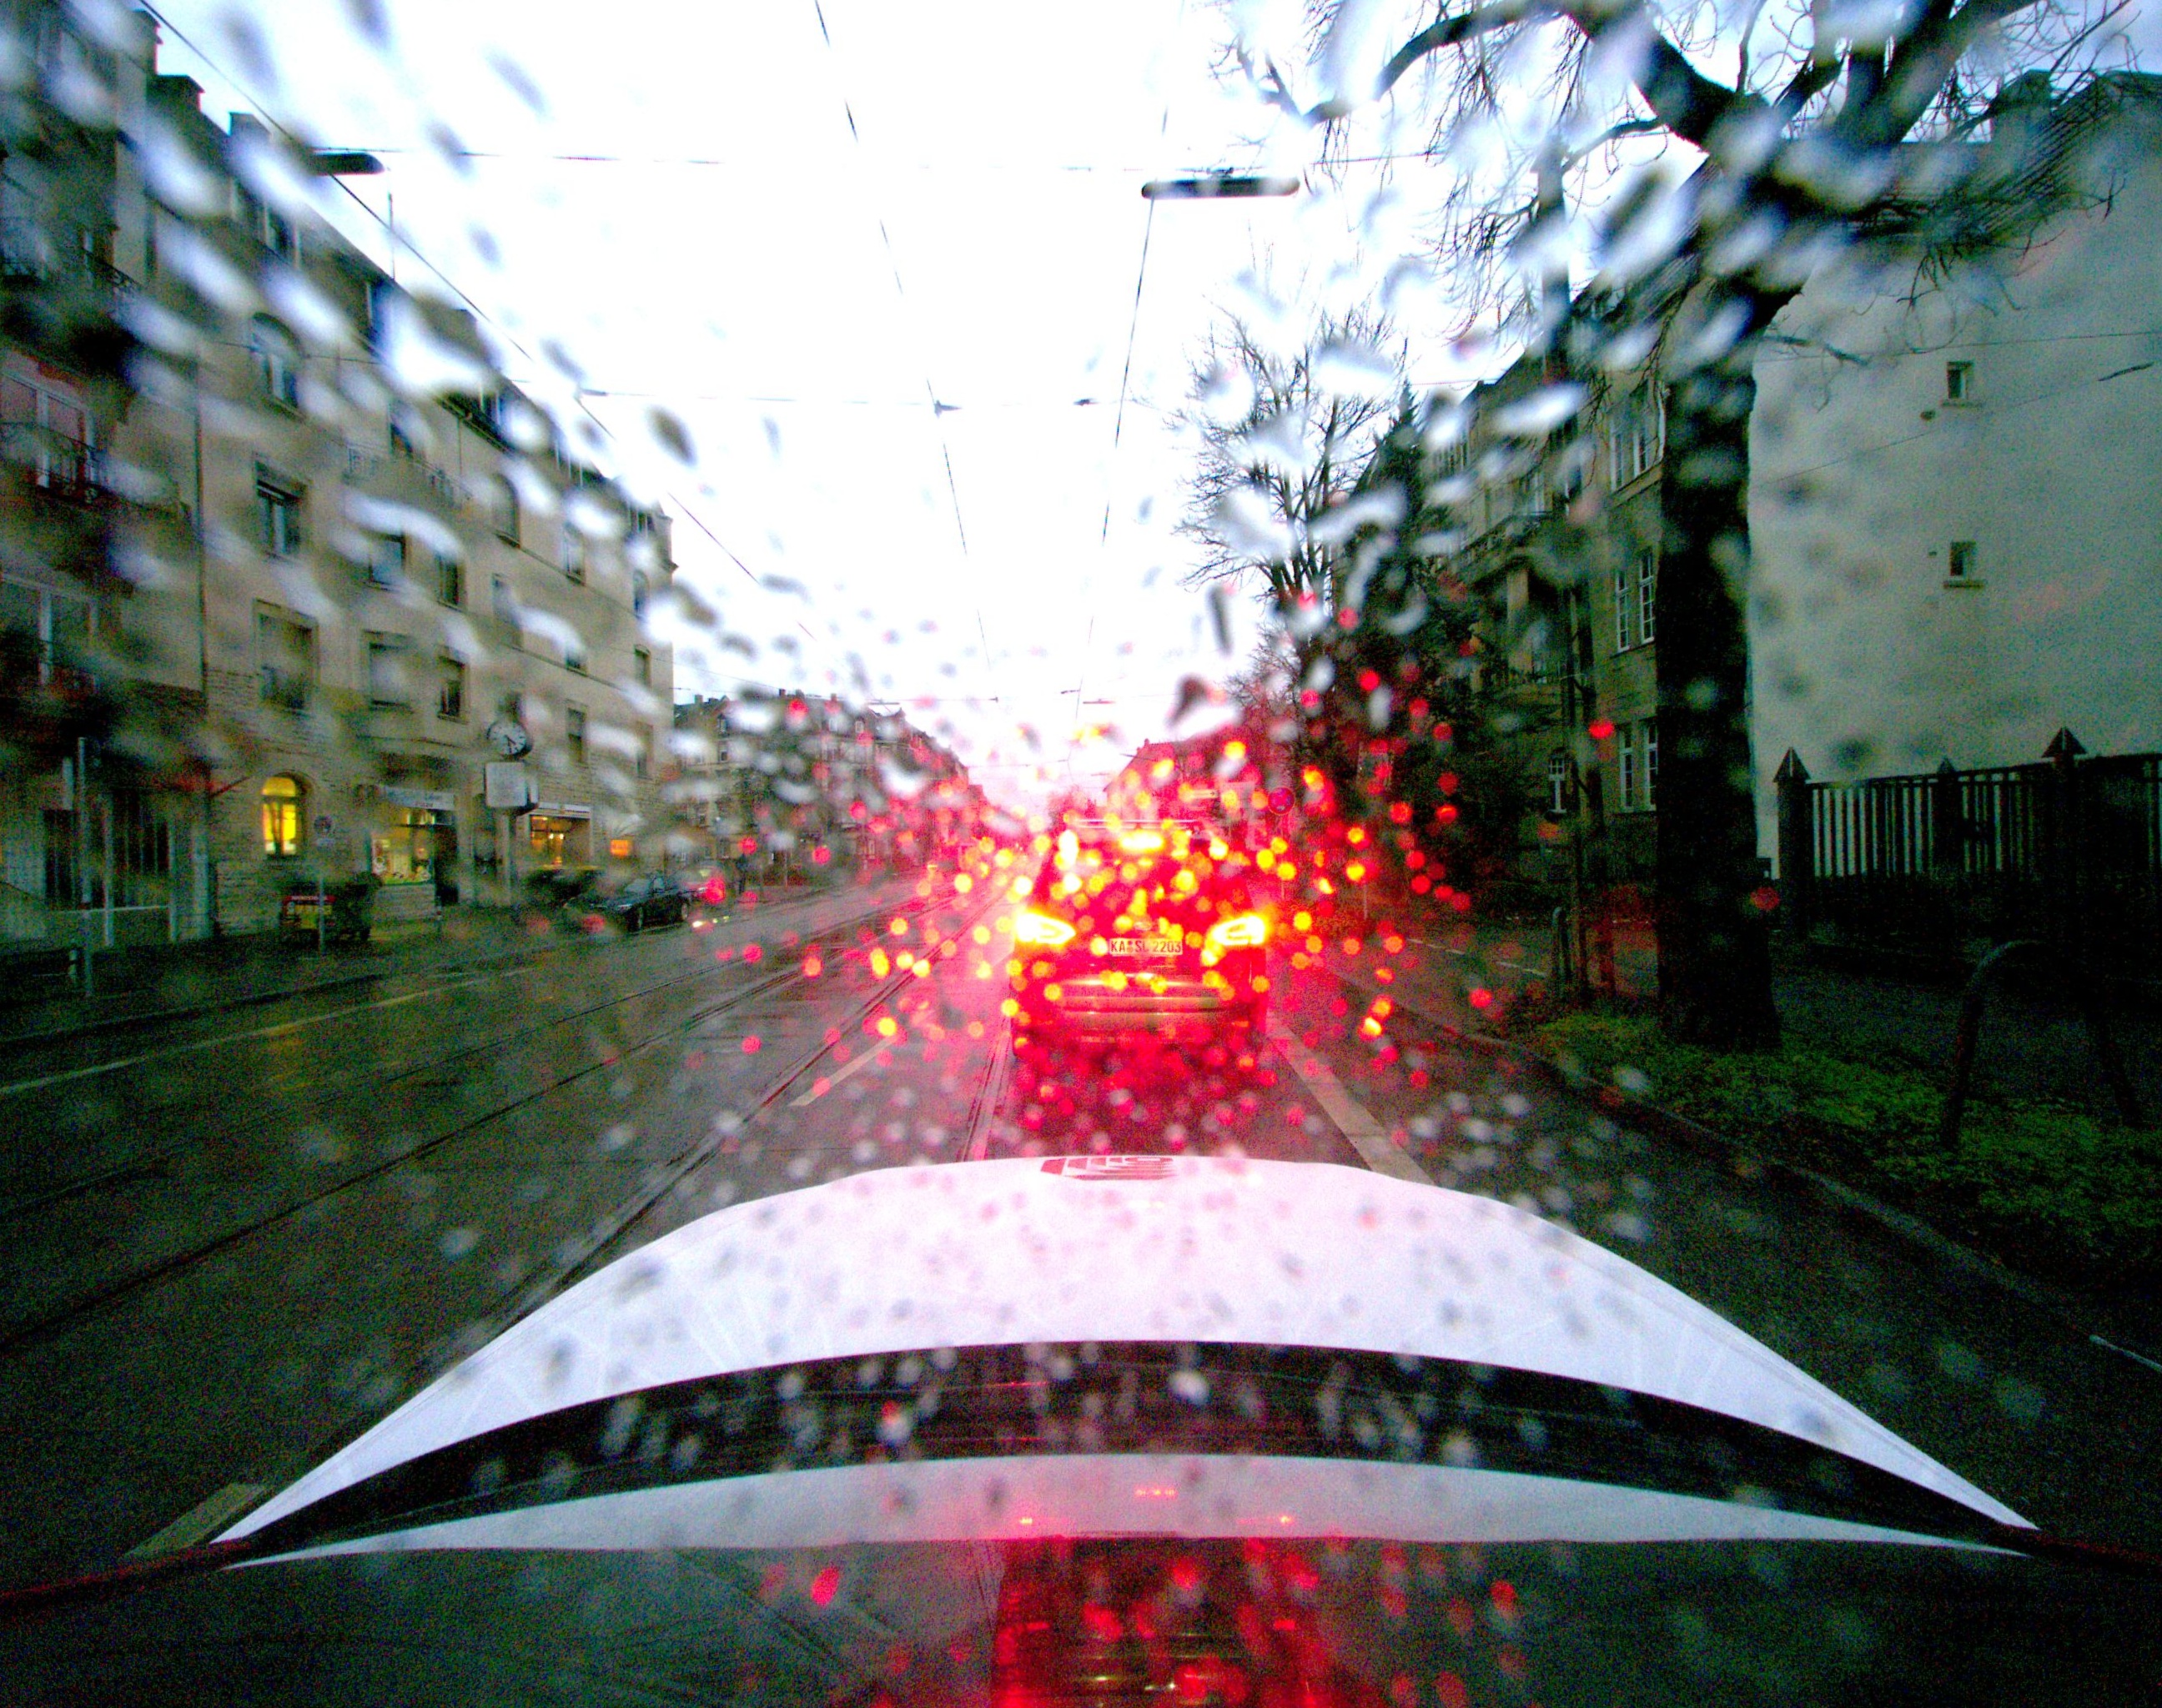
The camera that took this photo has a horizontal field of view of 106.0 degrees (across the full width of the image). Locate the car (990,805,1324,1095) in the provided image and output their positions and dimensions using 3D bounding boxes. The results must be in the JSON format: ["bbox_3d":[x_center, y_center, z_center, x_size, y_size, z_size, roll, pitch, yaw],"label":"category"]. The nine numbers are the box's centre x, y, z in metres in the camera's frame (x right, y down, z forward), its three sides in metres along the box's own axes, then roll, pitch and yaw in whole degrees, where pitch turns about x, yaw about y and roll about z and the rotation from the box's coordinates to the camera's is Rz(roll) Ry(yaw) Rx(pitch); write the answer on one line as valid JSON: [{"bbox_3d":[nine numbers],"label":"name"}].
[{"bbox_3d":[0.497,0.595,7.452,2.097,1.816,4.660,0,0,0],"label":"car"}]

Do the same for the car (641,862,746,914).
[{"bbox_3d":[-13.376,1.122,28.396,2.035,1.551,4.022,2,0,-7],"label":"car"}]

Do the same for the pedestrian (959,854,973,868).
[{"bbox_3d":[-9.607,0.577,68.329,1.044,1.200,0.884,-1,-1,-1],"label":"pedestrian"}]

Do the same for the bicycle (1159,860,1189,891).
[{"bbox_3d":[3.630,0.813,31.855,0.716,1.112,1.937,3,0,-6],"label":"bicycle"}]

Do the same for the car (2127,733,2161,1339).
[{"bbox_3d":[4.414,0.538,0.131,2.025,1.875,4.959,-2,0,-2],"label":"car"}]

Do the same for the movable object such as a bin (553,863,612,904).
[{"bbox_3d":[-17.381,1.025,28.436,1.290,1.367,1.251,-1,0,-2],"label":"movable object such as a bin"}]

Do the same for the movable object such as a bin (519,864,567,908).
[{"bbox_3d":[-17.855,1.046,27.043,0.896,1.377,1.006,-1,0,-2],"label":"movable object such as a bin"}]

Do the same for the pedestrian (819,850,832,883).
[{"bbox_3d":[-15.825,0.760,50.455,0.707,2.013,0.656,-1,0,-21],"label":"pedestrian"}]

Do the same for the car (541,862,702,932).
[{"bbox_3d":[-12.483,1.096,22.544,1.982,1.645,4.623,3,-1,-4],"label":"car"}]

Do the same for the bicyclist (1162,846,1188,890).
[{"bbox_3d":[3.652,0.536,31.744,0.716,1.662,1.054,2,0,-6],"label":"bicyclist"}]

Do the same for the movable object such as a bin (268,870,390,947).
[{"bbox_3d":[-15.090,1.067,16.398,1.264,1.420,1.249,-1,0,-2],"label":"movable object such as a bin"}]

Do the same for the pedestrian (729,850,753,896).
[{"bbox_3d":[-15.012,0.823,35.940,0.748,2.014,0.652,-1,-1,34],"label":"pedestrian"}]
